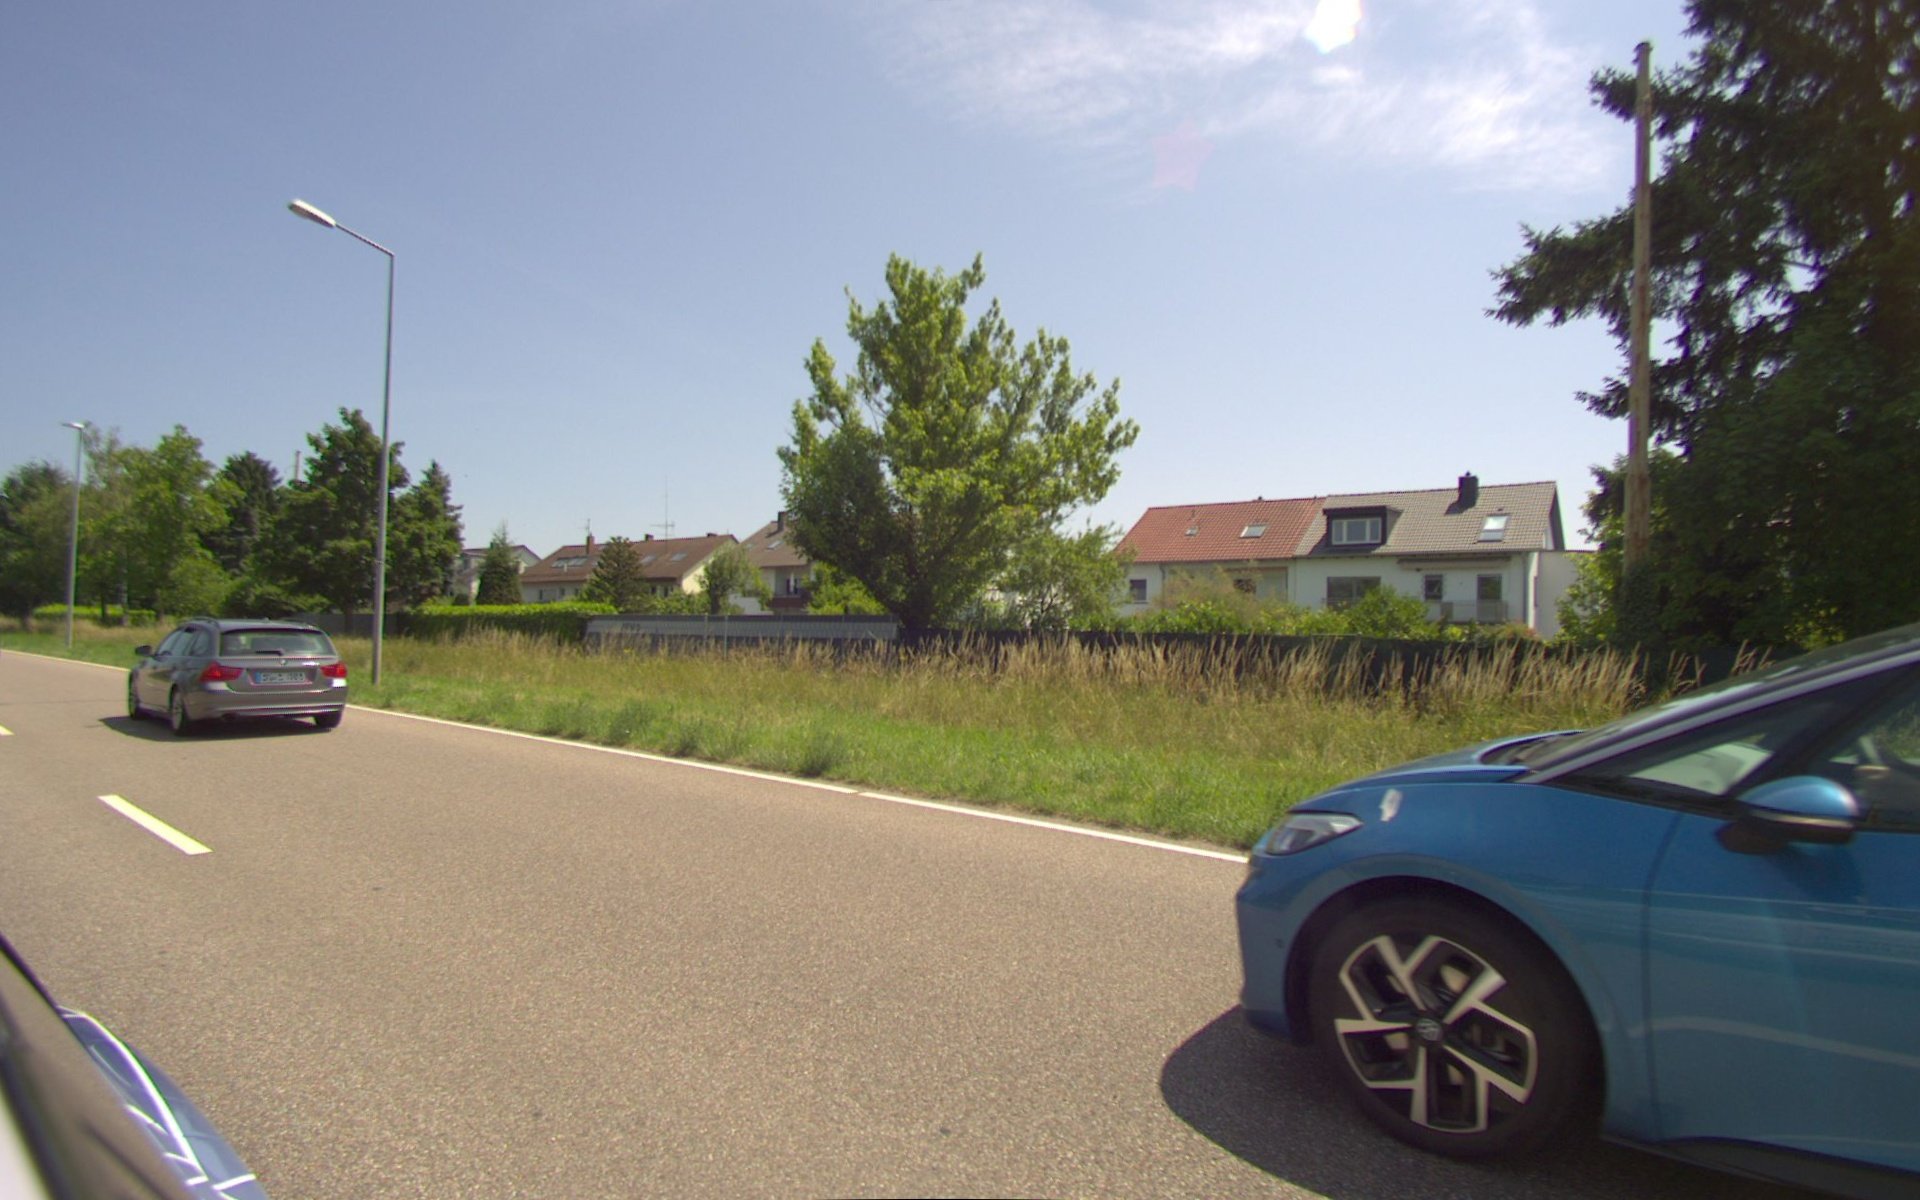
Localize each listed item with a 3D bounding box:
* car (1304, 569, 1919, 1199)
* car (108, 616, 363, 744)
[{"bbox_3d":[3.067,0.712,2.261,3.997,1.517,1.797,-1,-2,40],"label":"car"},{"bbox_3d":[-9.670,0.942,13.385,4.321,1.434,1.739,-1,-2,41],"label":"car"}]
